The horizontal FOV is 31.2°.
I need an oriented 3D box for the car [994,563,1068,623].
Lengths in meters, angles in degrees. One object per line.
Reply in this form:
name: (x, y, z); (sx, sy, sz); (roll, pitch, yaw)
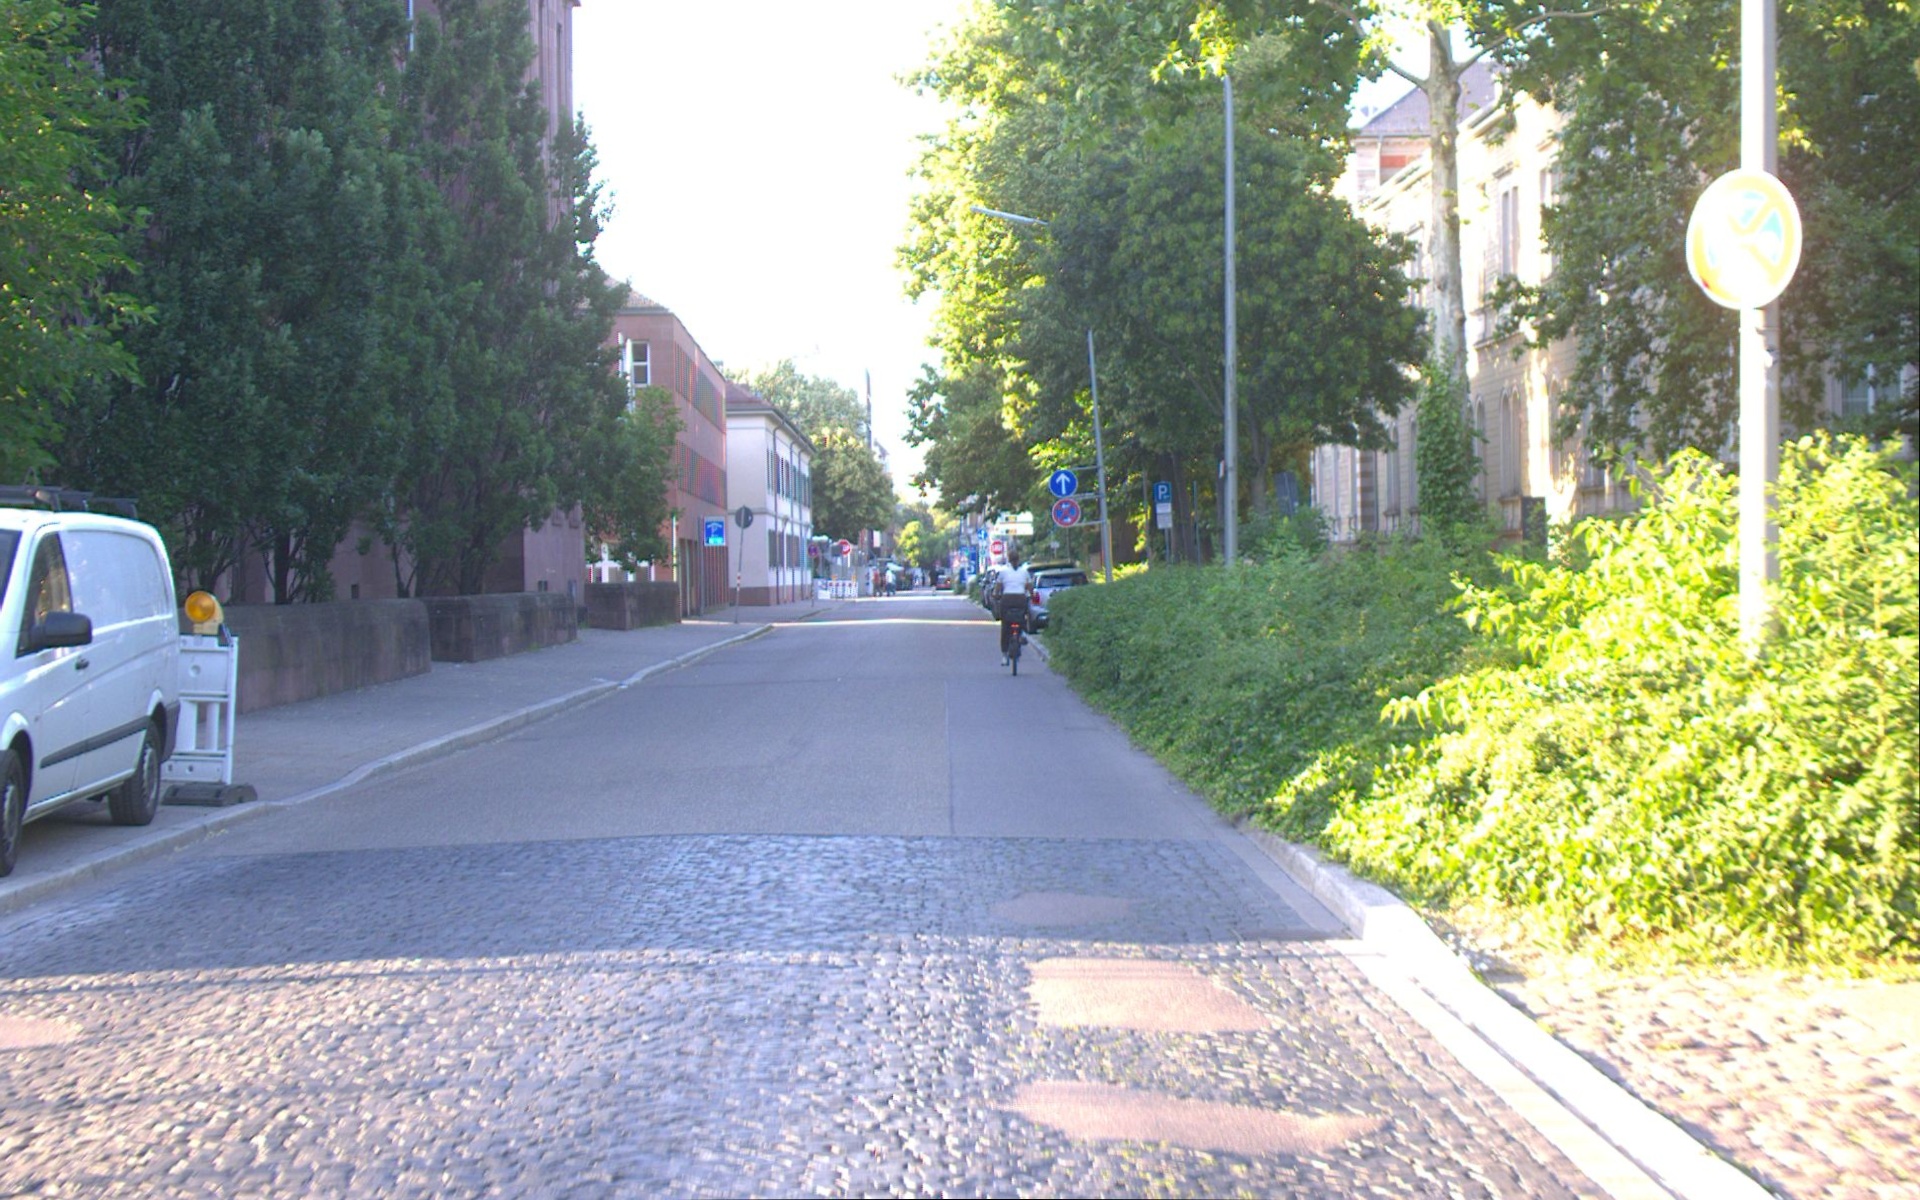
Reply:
car: (1.887, -0.195, 92.039); (1.715, 1.532, 4.049); (-1, 1, -2)

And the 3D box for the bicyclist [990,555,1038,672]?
bicyclist: (0.772, 0.188, 49.250); (0.639, 1.662, 0.843); (1, 0, -2)

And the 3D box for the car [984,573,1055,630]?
car: (1.847, 0.043, 107.928); (1.993, 1.700, 4.000); (-2, 0, -1)

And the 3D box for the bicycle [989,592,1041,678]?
bicycle: (0.776, 0.493, 49.191); (0.638, 1.189, 1.876); (1, 0, -2)

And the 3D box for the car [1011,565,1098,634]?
car: (2.131, 0.005, 78.351); (1.685, 1.442, 3.672); (-4, 0, -2)

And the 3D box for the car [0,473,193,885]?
car: (-5.693, 0.395, 19.010); (1.882, 2.007, 5.226); (1, -1, -2)
